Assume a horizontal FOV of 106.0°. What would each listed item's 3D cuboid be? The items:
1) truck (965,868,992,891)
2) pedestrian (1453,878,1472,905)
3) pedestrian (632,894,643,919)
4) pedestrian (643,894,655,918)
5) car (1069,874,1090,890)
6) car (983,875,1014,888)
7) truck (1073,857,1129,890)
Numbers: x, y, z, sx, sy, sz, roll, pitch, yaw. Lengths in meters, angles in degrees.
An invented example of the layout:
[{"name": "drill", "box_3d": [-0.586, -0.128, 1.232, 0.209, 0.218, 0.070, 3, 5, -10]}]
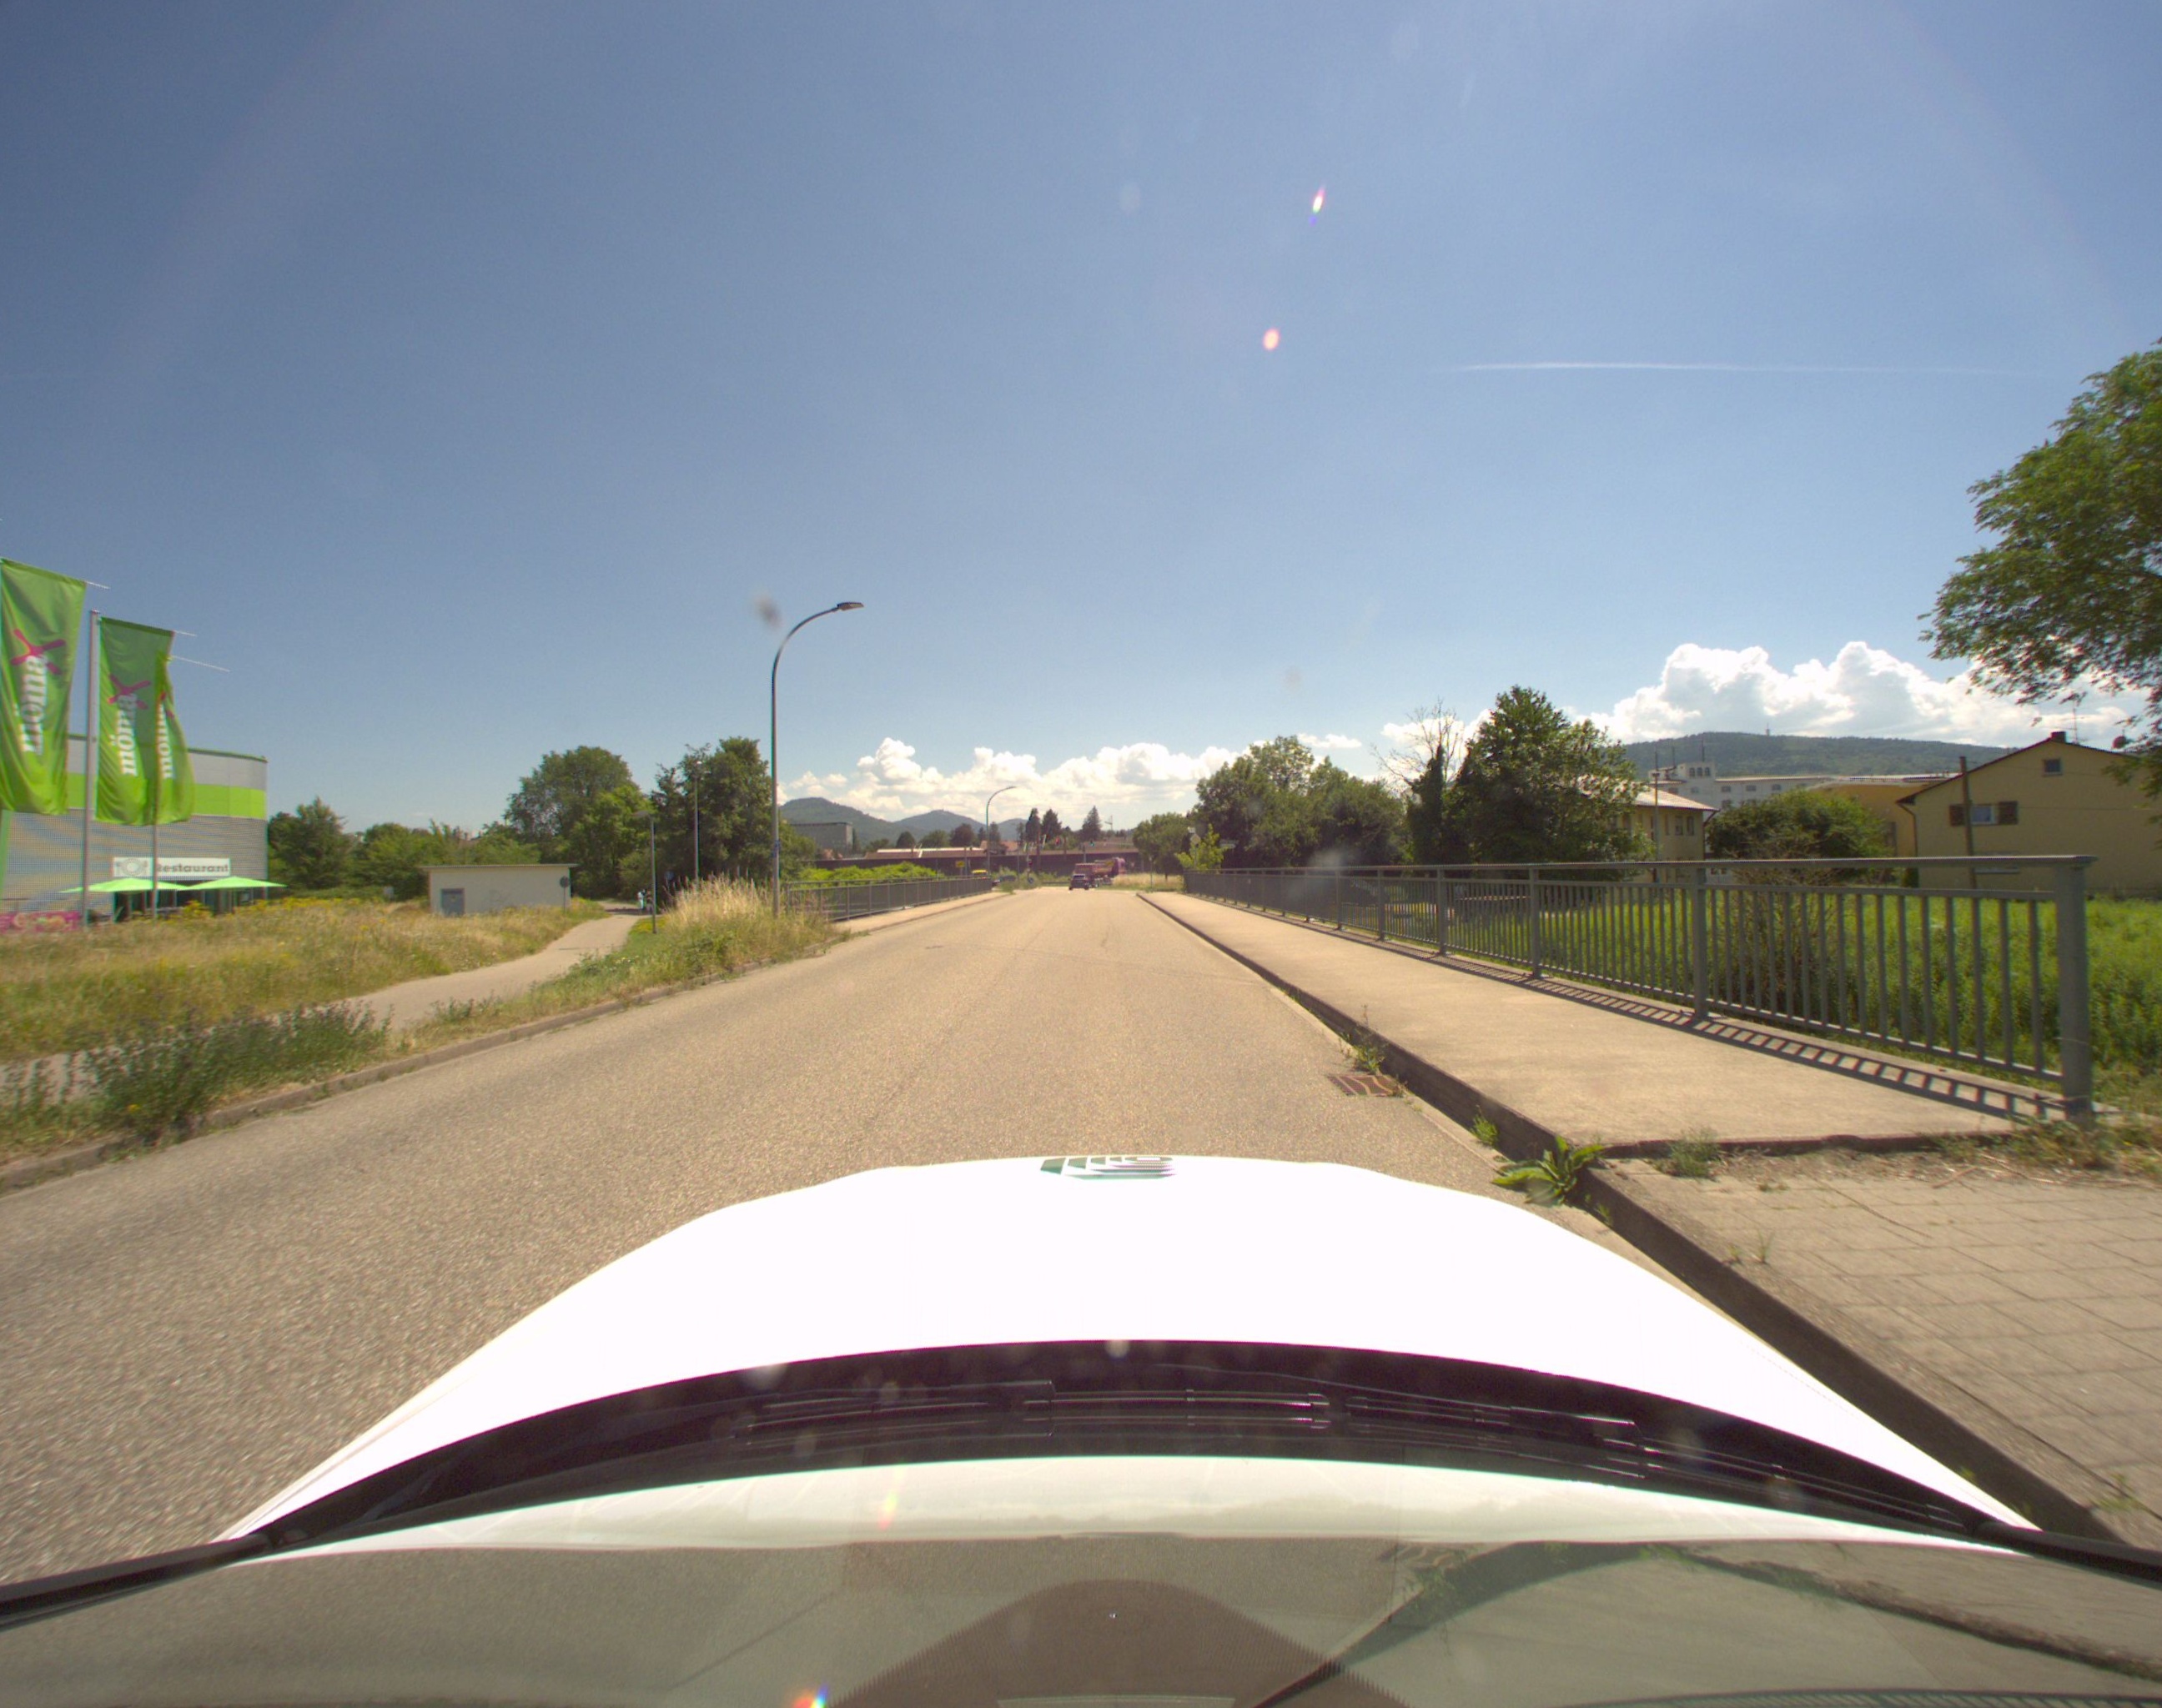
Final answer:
[{"name": "truck", "box_3d": [-12.202, 3.081, 96.214, 2.313, 2.338, 9.012, -3, -2, -12]}, {"name": "pedestrian", "box_3d": [20.498, 2.016, 43.778, 0.676, 1.393, 0.853, -3, 1, 13]}, {"name": "pedestrian", "box_3d": [-30.137, 3.564, 55.331, 0.515, 1.674, 0.624, 2, -3, -21]}, {"name": "pedestrian", "box_3d": [-29.631, 3.565, 55.850, 0.629, 1.674, 0.594, 2, -3, -20]}, {"name": "car", "box_3d": [-0.151, 2.766, 80.060, 1.987, 1.503, 4.000, 0, -1, 1]}, {"name": "car", "box_3d": [-11.268, 3.742, 110.887, 1.884, 1.702, 4.025, 2, 0, 38]}, {"name": "truck", "box_3d": [2.791, 2.653, 106.954, 2.969, 4.181, 11.871, -2, -3, 23]}]
